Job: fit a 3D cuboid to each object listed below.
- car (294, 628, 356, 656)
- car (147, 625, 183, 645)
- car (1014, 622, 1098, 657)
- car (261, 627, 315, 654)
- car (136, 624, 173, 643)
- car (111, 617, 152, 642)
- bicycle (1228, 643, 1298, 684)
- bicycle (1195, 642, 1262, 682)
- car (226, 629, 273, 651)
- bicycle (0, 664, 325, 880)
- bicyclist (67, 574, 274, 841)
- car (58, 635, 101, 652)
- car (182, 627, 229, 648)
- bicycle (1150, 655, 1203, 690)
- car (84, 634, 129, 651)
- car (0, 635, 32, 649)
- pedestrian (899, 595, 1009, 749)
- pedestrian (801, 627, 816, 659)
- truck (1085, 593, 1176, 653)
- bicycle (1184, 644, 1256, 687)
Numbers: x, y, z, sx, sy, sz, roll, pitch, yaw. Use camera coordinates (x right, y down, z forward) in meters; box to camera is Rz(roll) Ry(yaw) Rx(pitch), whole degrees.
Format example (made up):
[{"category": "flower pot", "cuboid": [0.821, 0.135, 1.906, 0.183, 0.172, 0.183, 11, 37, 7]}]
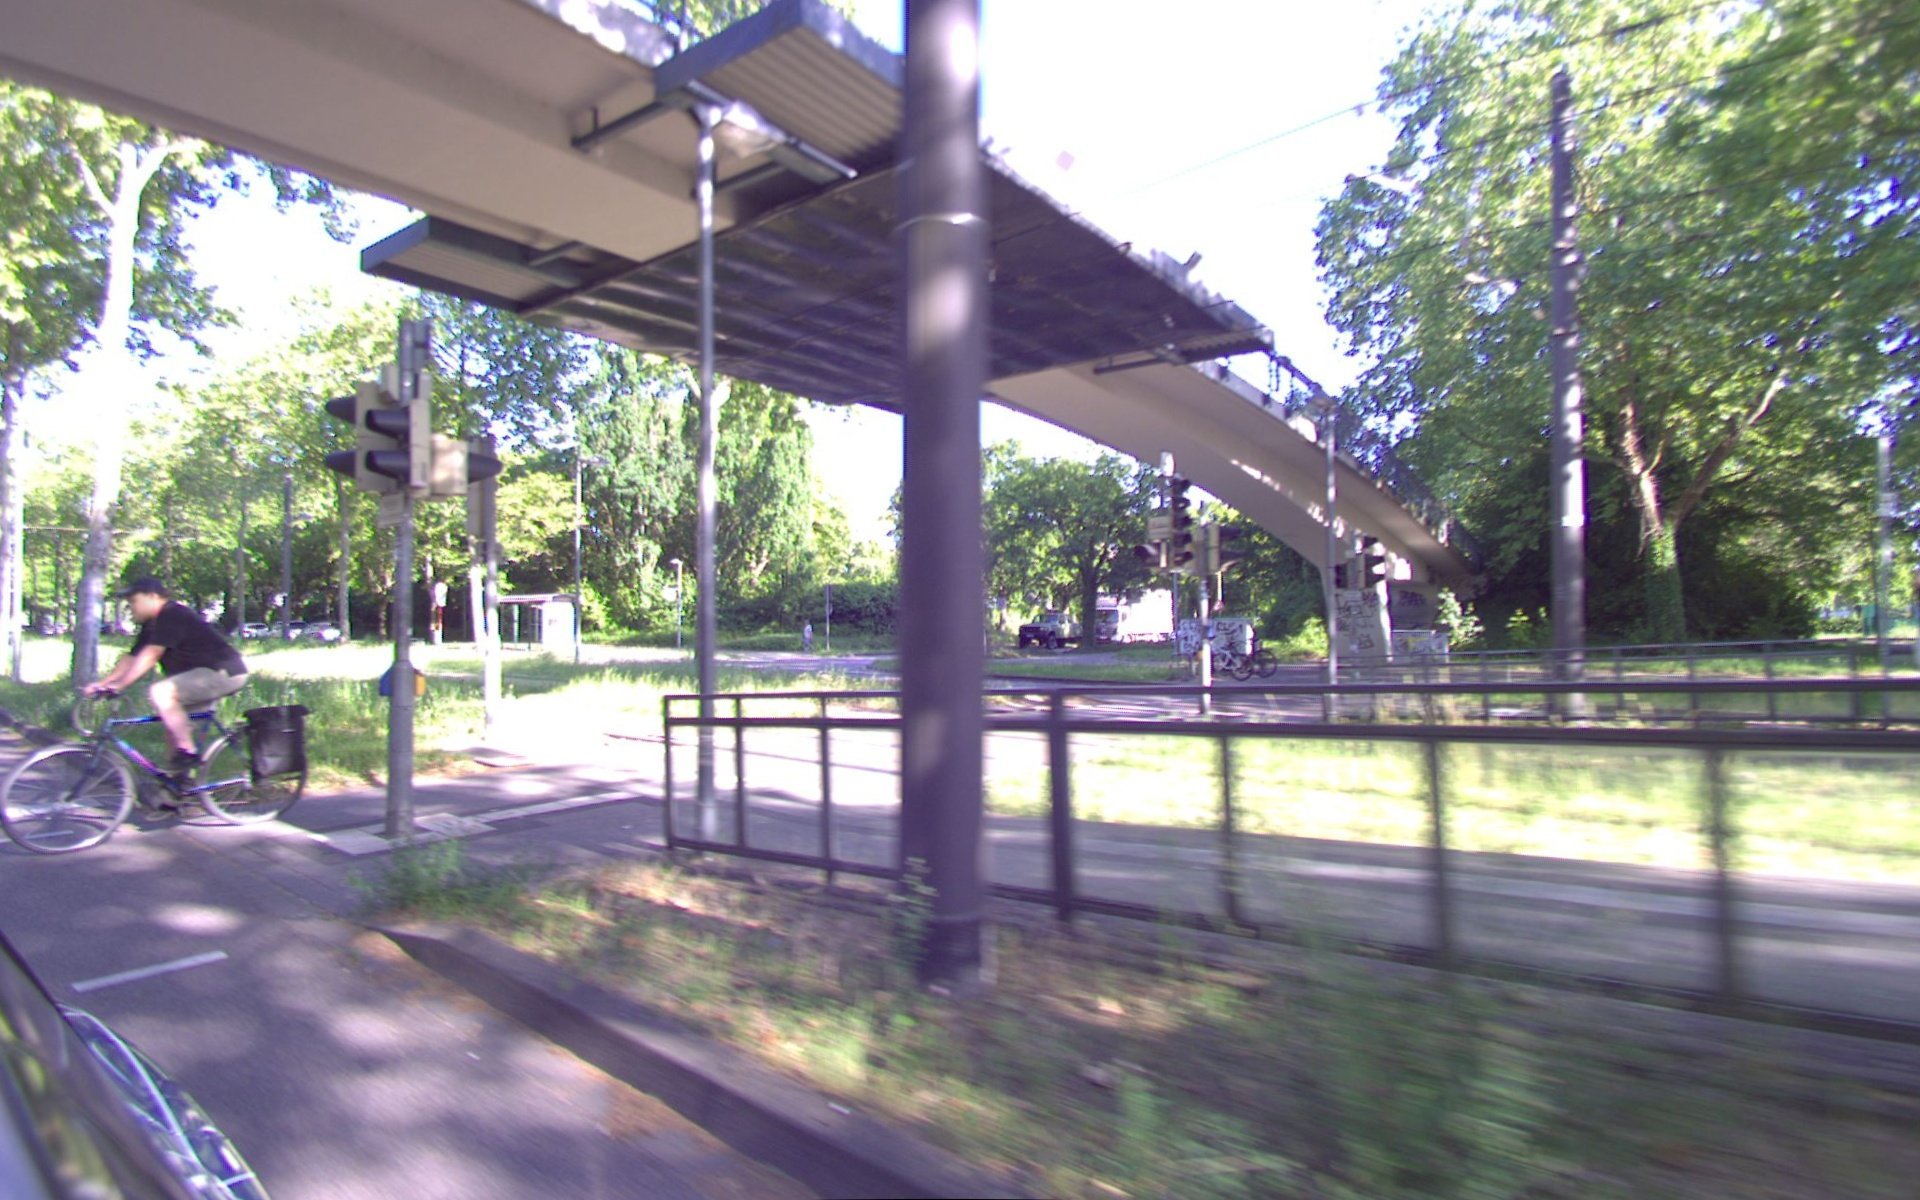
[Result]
[{"category": "car", "cuboid": [-39.020, 2.541, 62.185, 4.624, 1.499, 1.879, -1, 1, 40]}, {"category": "car", "cuboid": [-65.795, 2.892, 83.736, 3.566, 1.499, 1.526, -2, 1, 40]}, {"category": "car", "cuboid": [5.716, 2.261, 59.193, 2.220, 1.963, 6.080, -1, -2, 35]}, {"category": "car", "cuboid": [-44.135, 2.600, 66.421, 4.186, 1.608, 1.797, -1, 1, 40]}, {"category": "car", "cuboid": [-69.676, 2.899, 87.479, 3.814, 1.507, 1.732, -1, 1, 40]}, {"category": "car", "cuboid": [-75.142, 2.686, 91.790, 4.273, 2.072, 1.963, -1, 2, 39]}, {"category": "bicycle", "cuboid": [7.723, 1.610, 25.855, 1.685, 1.016, 0.429, -2, -1, 41]}, {"category": "bicycle", "cuboid": [7.136, 1.625, 26.910, 1.685, 1.016, 0.429, -2, -1, 41]}, {"category": "car", "cuboid": [-49.839, 2.789, 70.989, 4.020, 1.429, 1.701, -2, 1, 40]}, {"category": "bicycle", "cuboid": [-5.377, 1.058, 6.730, 0.815, 1.155, 1.811, -3, -2, 43]}, {"category": "bicyclist", "cuboid": [-5.341, 0.672, 6.857, 0.814, 1.644, 0.944, -3, -2, 39]}, {"category": "car", "cuboid": [-91.920, 4.557, 105.703, 1.857, 1.579, 4.011, 0, -1, -14]}, {"category": "car", "cuboid": [-57.752, 2.860, 77.463, 4.173, 1.499, 1.821, -2, 1, 38]}, {"category": "bicycle", "cuboid": [5.221, 1.736, 24.442, 1.173, 0.784, 0.429, -2, -1, 41]}, {"category": "car", "cuboid": [-85.762, 4.274, 101.760, 1.857, 1.579, 4.011, 0, -1, -14]}, {"category": "car", "cuboid": [-123.381, 5.437, 131.454, 1.820, 1.722, 3.990, -1, -1, 8]}, {"category": "pedestrian", "cuboid": [-0.076, 0.800, 11.719, 1.047, 1.687, 0.718, -1, -1, 38]}, {"category": "pedestrian", "cuboid": [-7.246, 2.071, 48.402, 0.526, 1.502, 0.589, 0, -1, -26]}, {"category": "truck", "cuboid": [11.522, 1.535, 67.654, 2.740, 3.779, 8.416, -1, -2, 34]}, {"category": "bicycle", "cuboid": [6.437, 1.617, 25.092, 1.685, 1.016, 0.429, -2, -1, 41]}]
